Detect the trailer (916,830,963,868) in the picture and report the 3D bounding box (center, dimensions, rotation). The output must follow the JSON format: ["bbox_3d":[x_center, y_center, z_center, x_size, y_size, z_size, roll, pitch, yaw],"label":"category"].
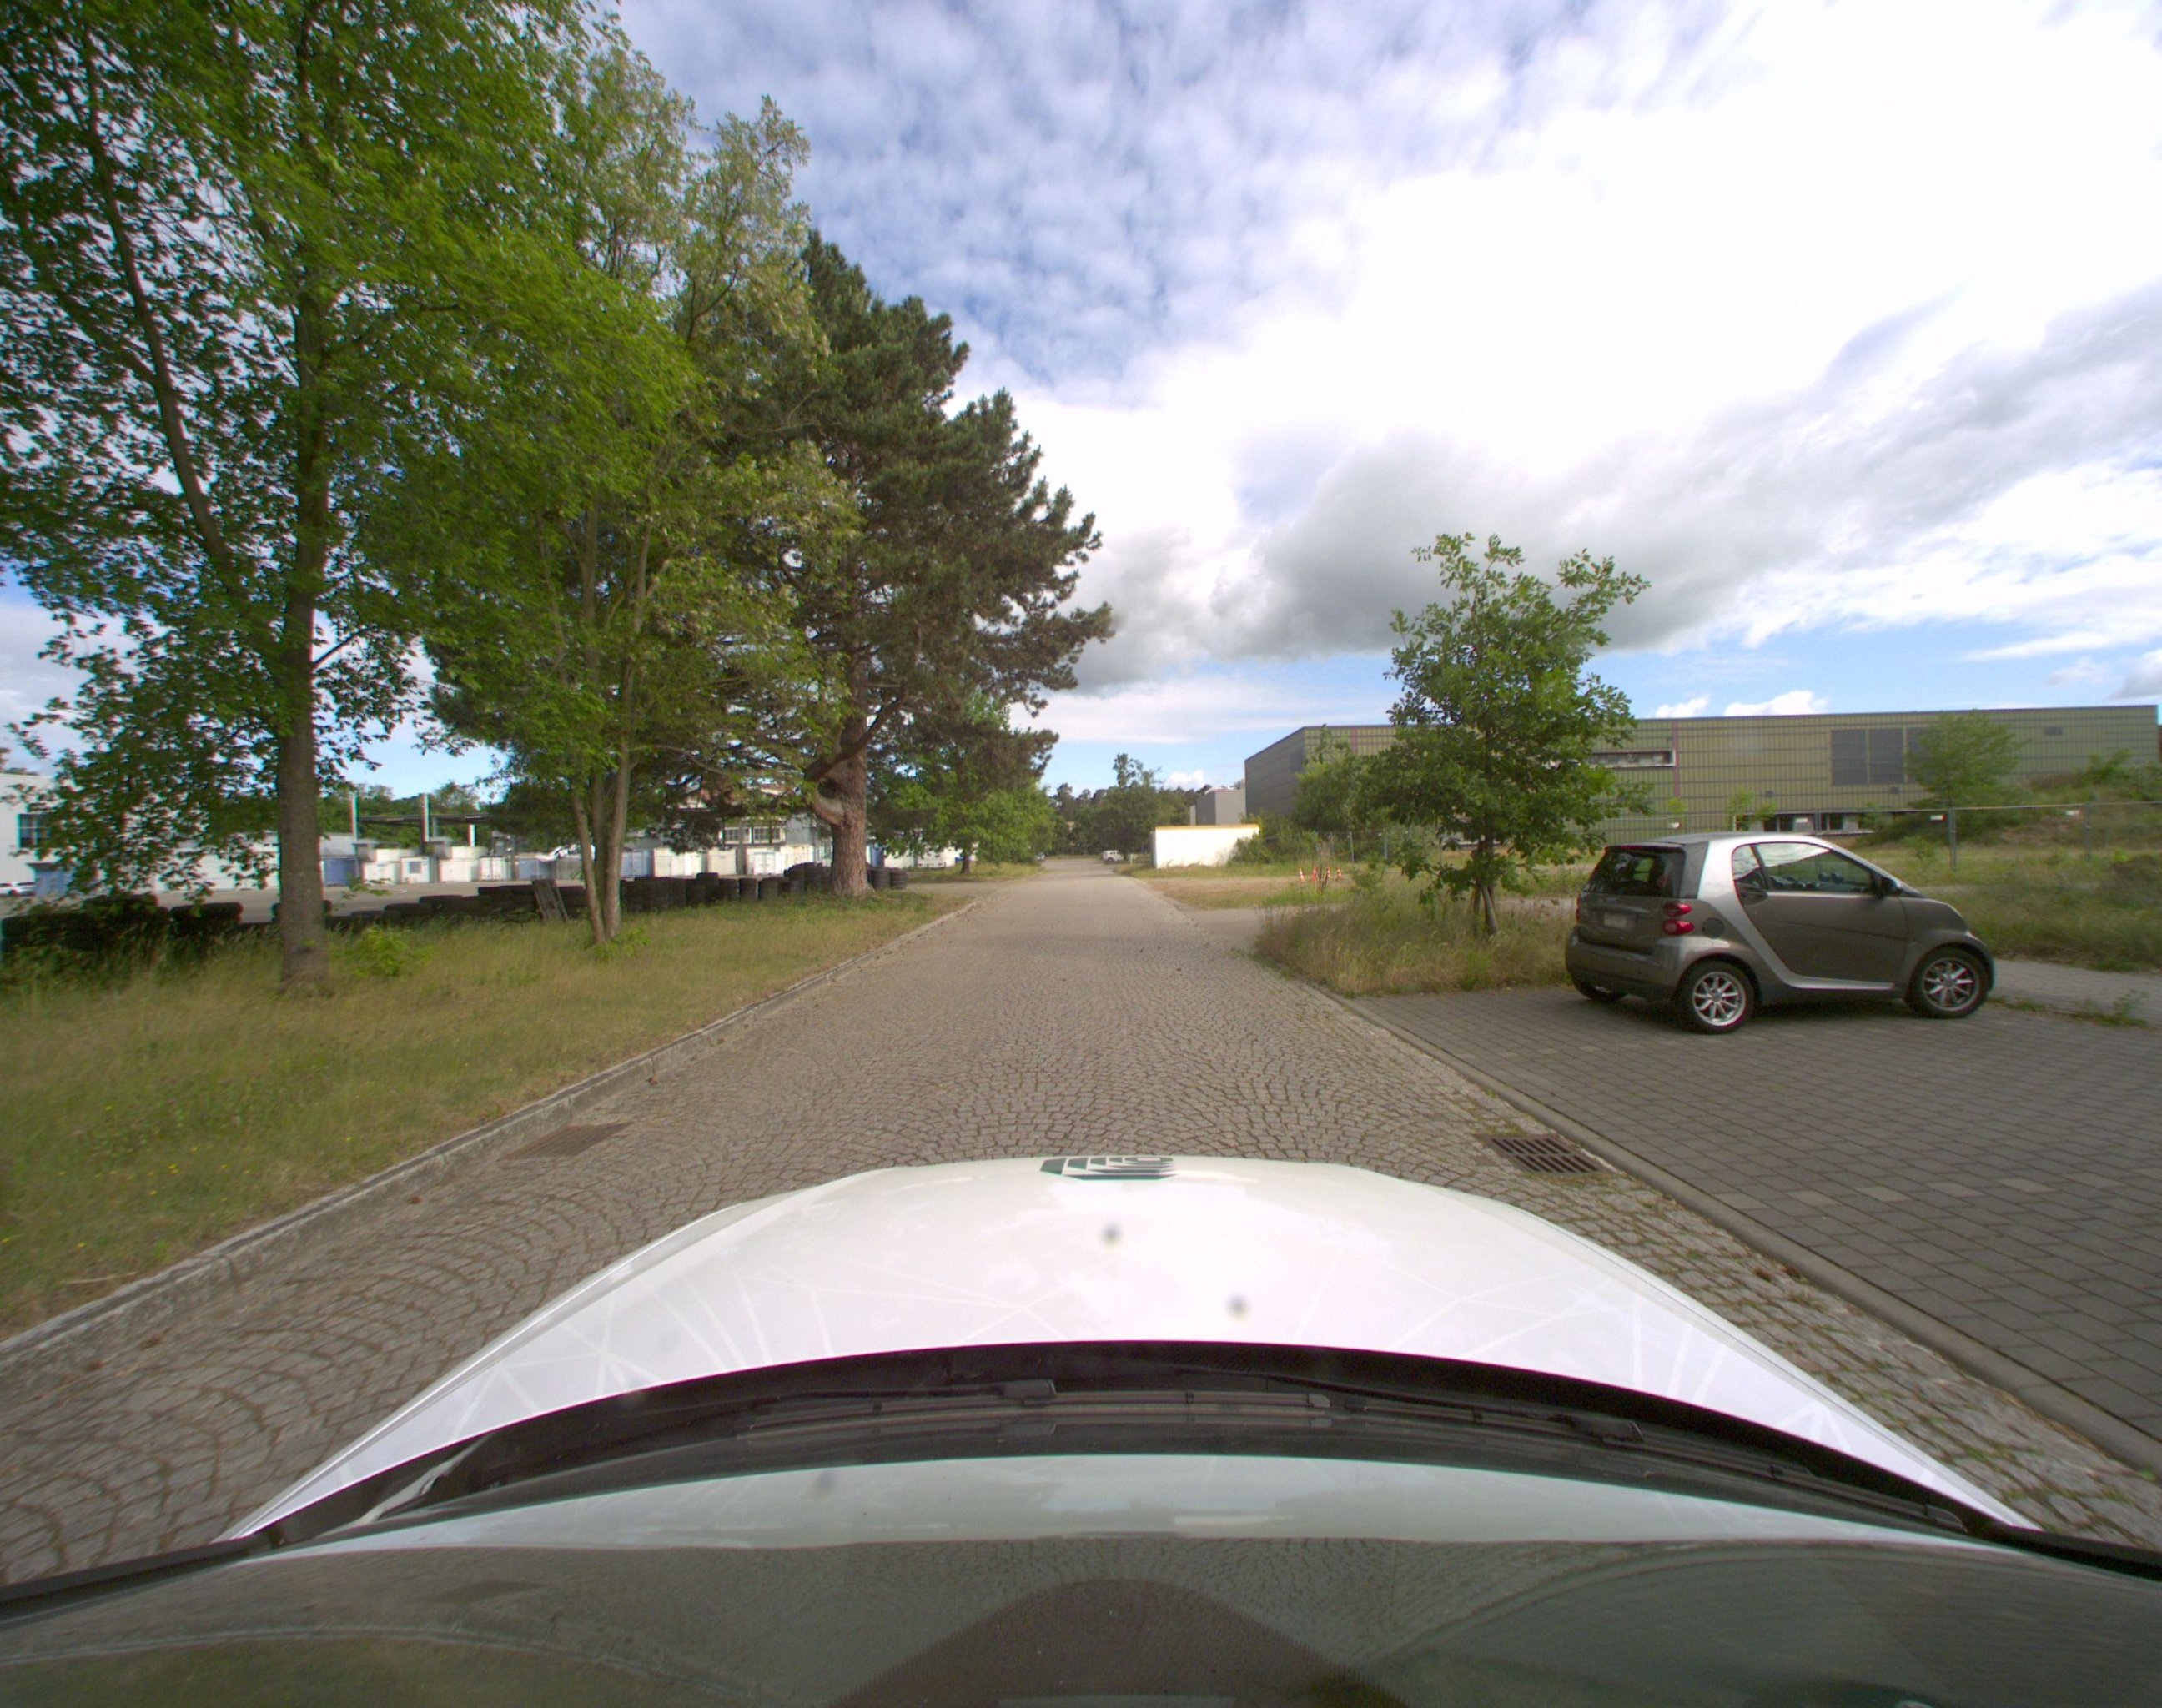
[{"bbox_3d":[-14.959,-0.547,86.906,2.646,3.705,10.727,-2,0,2],"label":"trailer"}]

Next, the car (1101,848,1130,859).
[{"bbox_3d":[4.905,-0.109,116.621,3.974,1.455,1.697,-2,0,0],"label":"car"}]

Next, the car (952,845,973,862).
[{"bbox_3d":[-18.406,-0.025,126.503,1.985,2.523,5.622,-2,0,3],"label":"car"}]

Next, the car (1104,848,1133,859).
[{"bbox_3d":[5.207,-0.056,114.457,3.974,1.455,2.000,-1,-1,0],"label":"car"}]

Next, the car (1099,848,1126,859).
[{"bbox_3d":[4.766,-0.087,124.562,3.974,1.455,1.769,-2,0,0],"label":"car"}]

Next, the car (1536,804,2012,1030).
[{"bbox_3d":[5.890,0.484,7.204,2.732,1.582,1.682,-4,0,0],"label":"car"}]

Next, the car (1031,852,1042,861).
[{"bbox_3d":[-7.555,0.446,138.245,1.745,1.364,3.996,-2,0,-3],"label":"car"}]
